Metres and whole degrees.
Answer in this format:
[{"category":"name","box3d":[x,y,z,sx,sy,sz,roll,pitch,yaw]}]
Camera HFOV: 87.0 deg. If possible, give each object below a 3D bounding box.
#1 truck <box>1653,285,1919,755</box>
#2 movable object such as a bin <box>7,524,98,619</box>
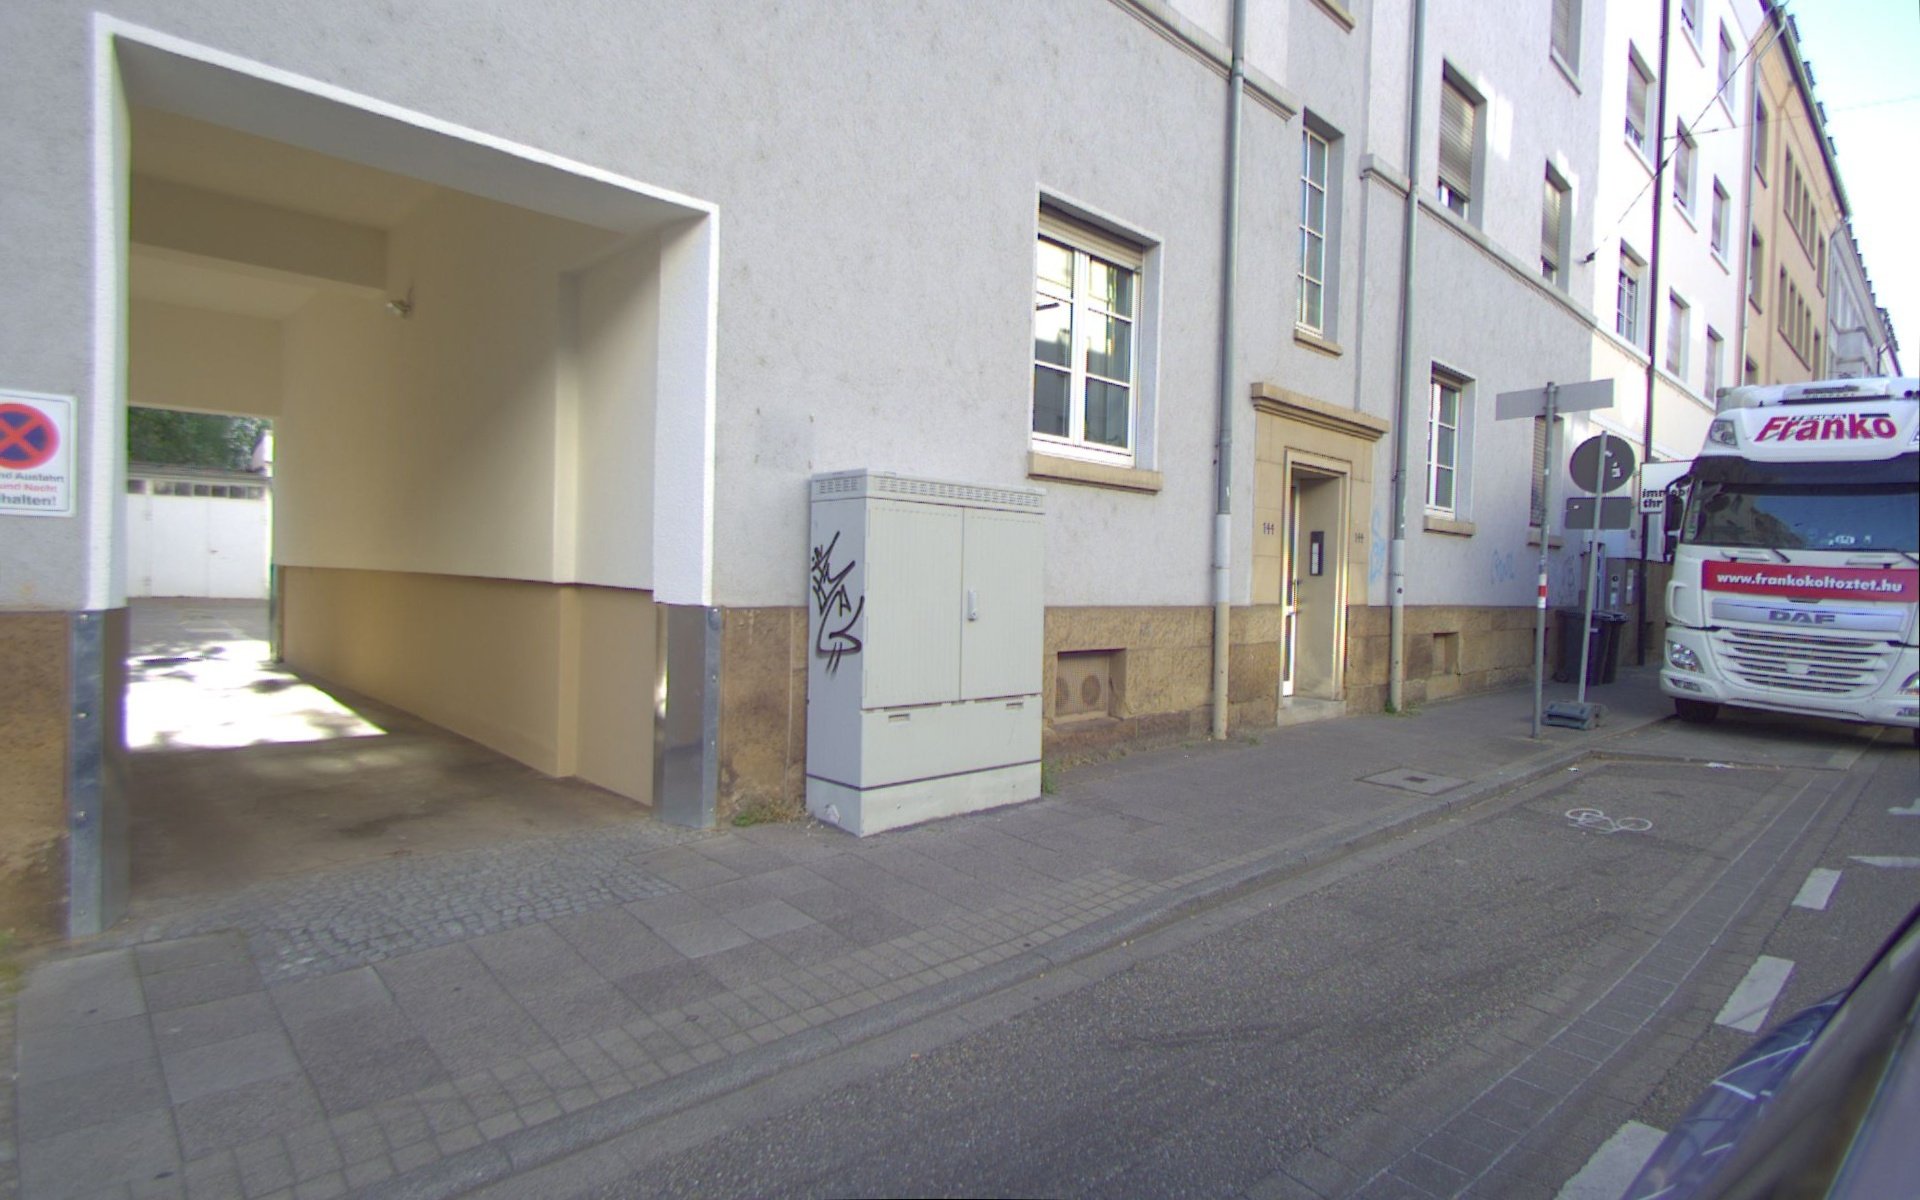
[{"category":"truck","box3d":[12.569,-0.854,13.696,11.579,4.290,2.697,-1,3,-43]},{"category":"movable object such as a bin","box3d":[-15.130,-0.465,16.908,1.091,1.512,1.328,0,0,-41]}]
